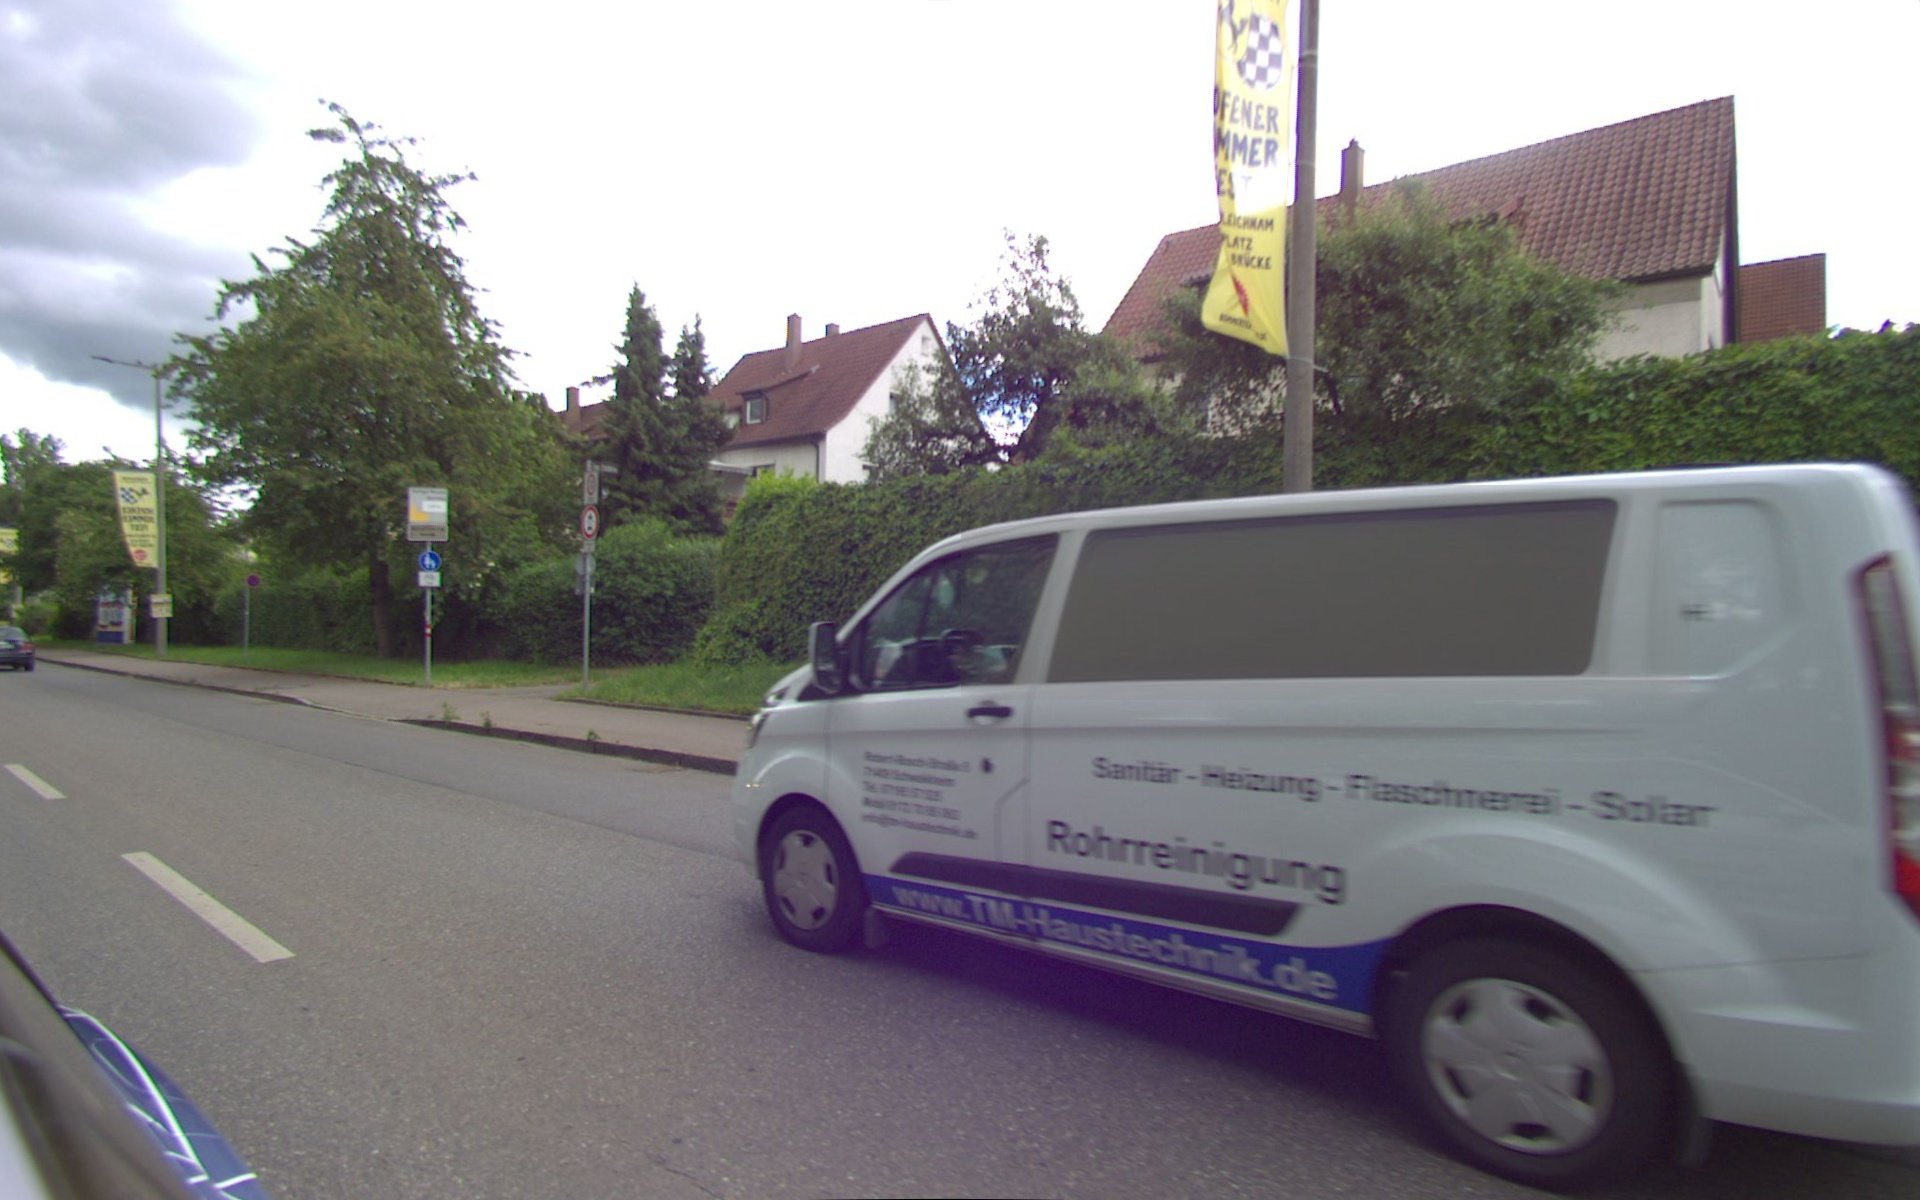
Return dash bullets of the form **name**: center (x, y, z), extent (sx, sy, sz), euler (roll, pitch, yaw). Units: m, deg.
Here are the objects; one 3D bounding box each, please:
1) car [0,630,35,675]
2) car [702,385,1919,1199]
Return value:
- **car**: center (-30.898, 1.636, 32.114), extent (4.237, 1.385, 1.715), euler (-1, -3, 41)
- **car**: center (1.198, 0.542, 4.146), extent (4.908, 1.947, 1.887), euler (0, -2, 41)
